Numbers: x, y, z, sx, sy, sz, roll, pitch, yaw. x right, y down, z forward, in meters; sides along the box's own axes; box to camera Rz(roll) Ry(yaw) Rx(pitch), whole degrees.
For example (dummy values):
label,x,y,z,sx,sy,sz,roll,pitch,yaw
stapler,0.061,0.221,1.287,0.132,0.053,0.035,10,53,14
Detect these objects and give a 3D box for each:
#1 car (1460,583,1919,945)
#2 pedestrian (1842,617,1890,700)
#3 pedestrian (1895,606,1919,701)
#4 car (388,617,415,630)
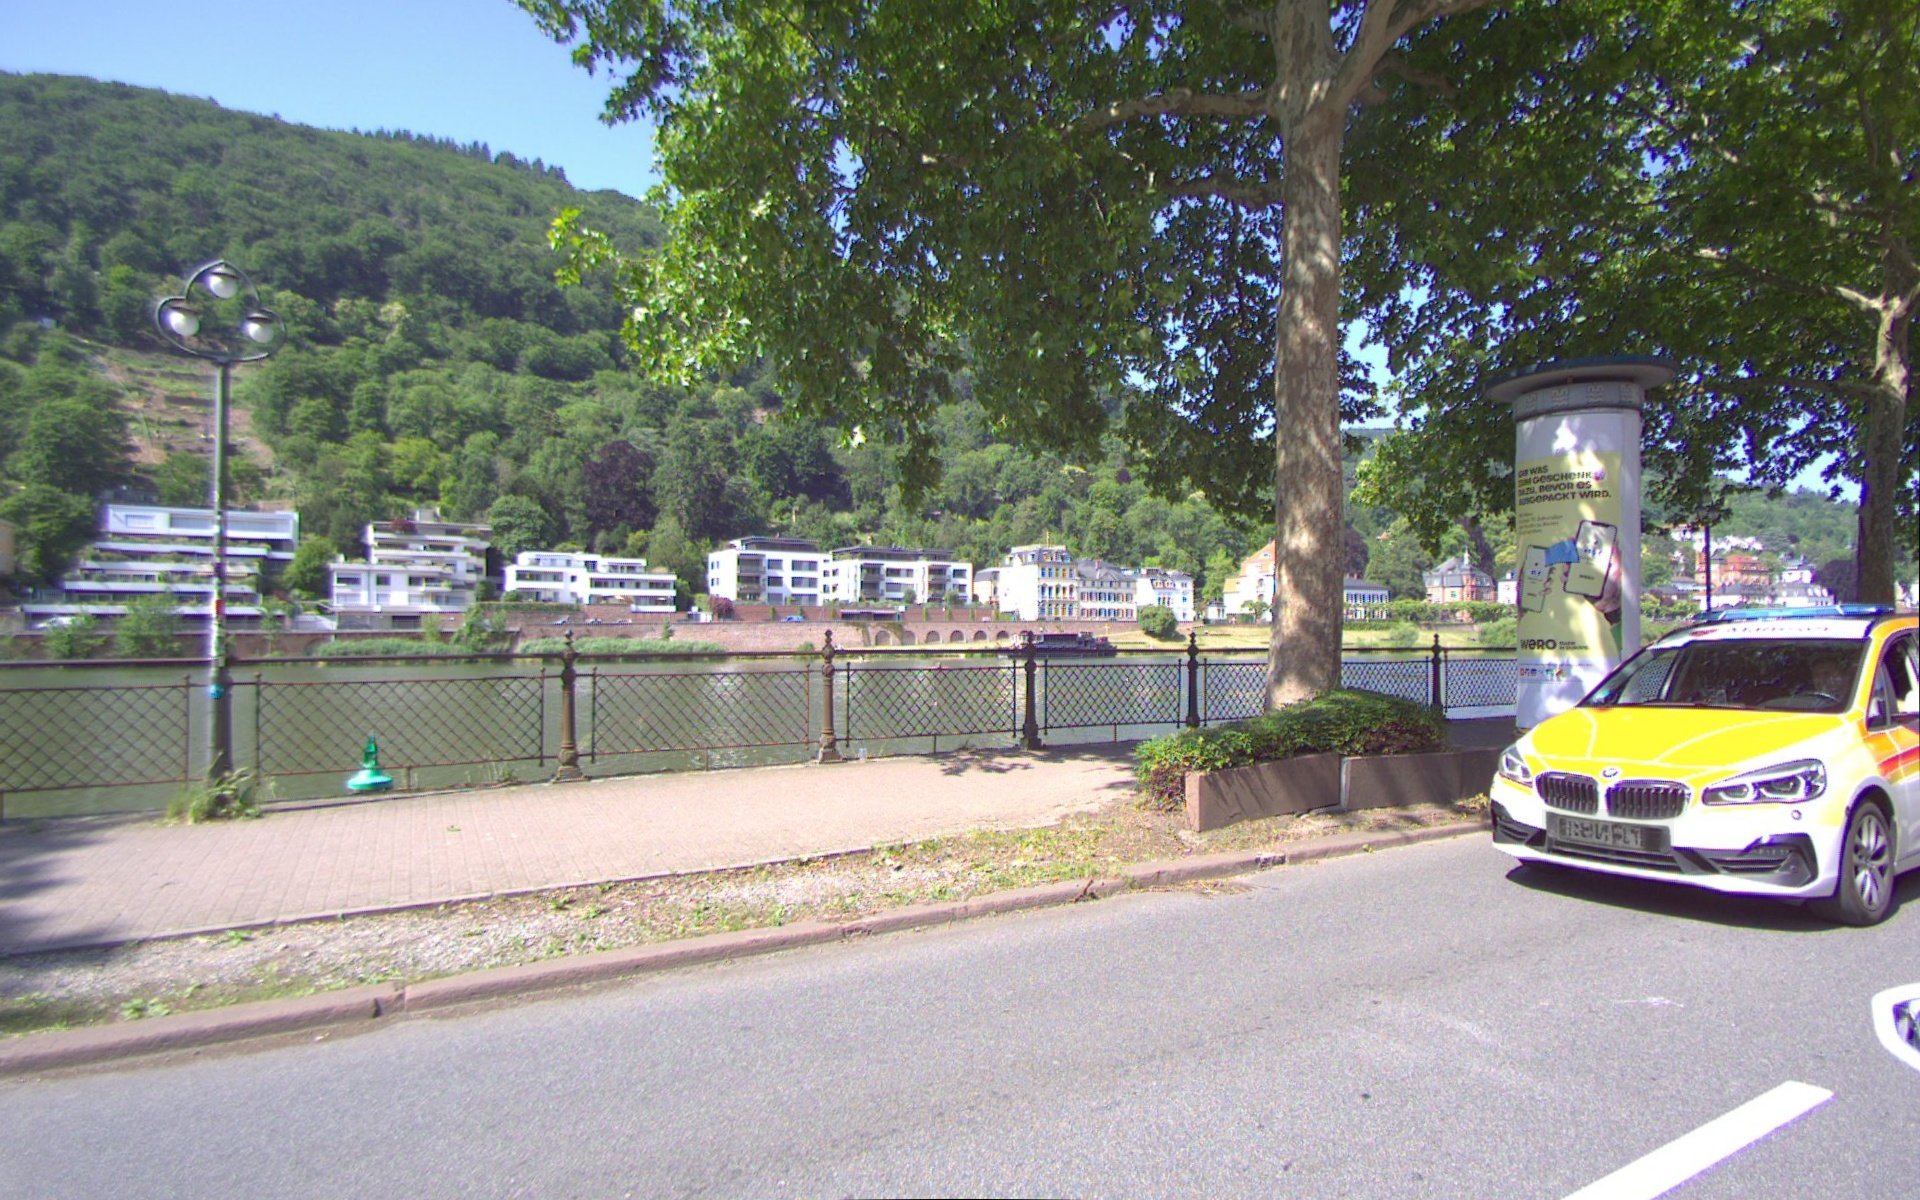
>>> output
label,x,y,z,sx,sy,sz,roll,pitch,yaw
car,5.304,0.853,6.499,4.174,1.681,1.666,1,-4,-31
pedestrian,19.115,1.220,21.192,0.577,1.708,0.598,1,-2,-31
pedestrian,19.696,1.097,20.668,0.431,1.912,0.531,1,1,-30
car,-94.723,3.977,170.505,3.953,2.041,1.984,-1,1,-30
